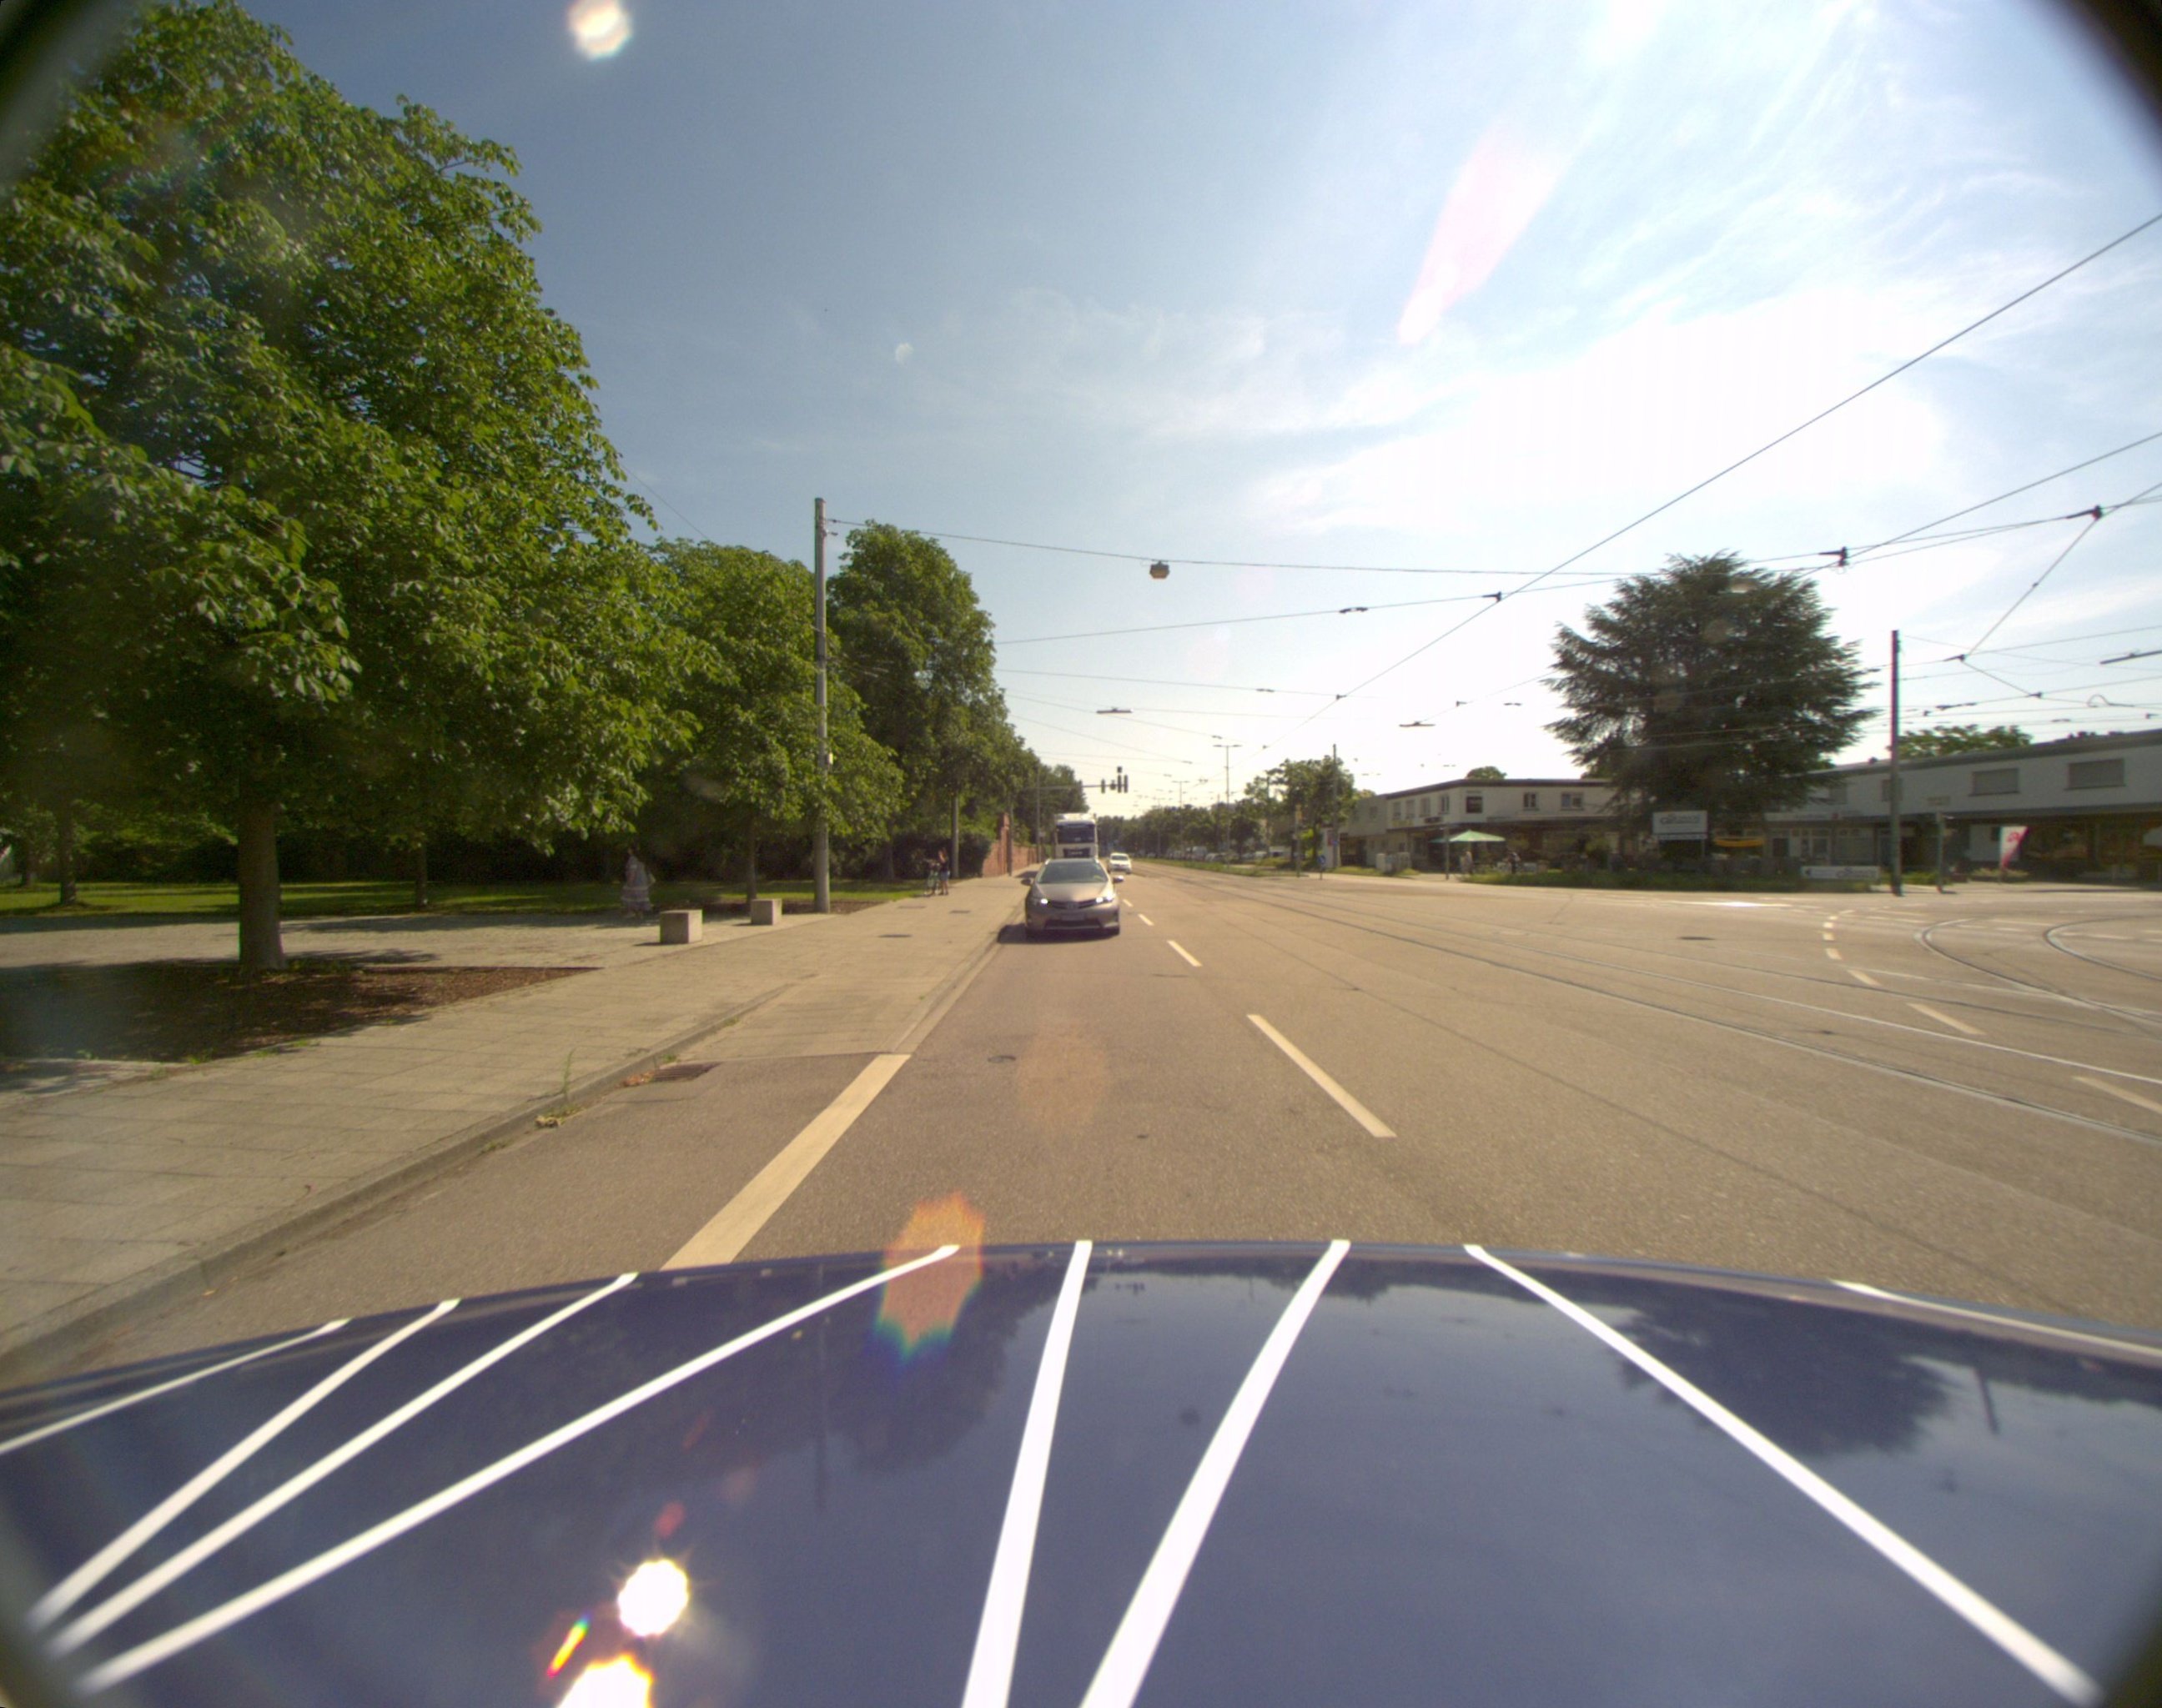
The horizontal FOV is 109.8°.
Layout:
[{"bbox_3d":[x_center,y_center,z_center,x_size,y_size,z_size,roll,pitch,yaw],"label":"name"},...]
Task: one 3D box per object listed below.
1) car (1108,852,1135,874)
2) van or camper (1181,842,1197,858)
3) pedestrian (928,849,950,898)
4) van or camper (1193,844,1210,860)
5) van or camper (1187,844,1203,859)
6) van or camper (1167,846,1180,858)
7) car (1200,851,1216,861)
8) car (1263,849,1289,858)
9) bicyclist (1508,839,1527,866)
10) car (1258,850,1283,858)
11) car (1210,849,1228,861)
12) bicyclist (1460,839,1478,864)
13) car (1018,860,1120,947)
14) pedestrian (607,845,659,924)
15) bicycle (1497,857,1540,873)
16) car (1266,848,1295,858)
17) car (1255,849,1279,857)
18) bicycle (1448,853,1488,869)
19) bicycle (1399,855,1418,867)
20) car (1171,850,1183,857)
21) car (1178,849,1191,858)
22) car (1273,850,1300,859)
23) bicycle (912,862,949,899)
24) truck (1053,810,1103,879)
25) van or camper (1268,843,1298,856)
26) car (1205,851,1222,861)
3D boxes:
[{"bbox_3d":[2.961,0.612,56.575,1.770,1.552,4.067,1,0,1],"label":"car"},{"bbox_3d":[20.035,-0.713,141.438,2.128,2.967,5.281,0,0,0],"label":"van or camper"},{"bbox_3d":[-4.587,0.628,24.631,0.542,1.540,0.663,2,1,0],"label":"pedestrian"},{"bbox_3d":[20.051,-0.373,126.493,2.040,2.617,4.839,0,0,0],"label":"van or camper"},{"bbox_3d":[19.975,-0.453,133.548,2.040,2.617,4.839,0,0,0],"label":"van or camper"},{"bbox_3d":[20.565,-0.516,169.300,2.114,2.604,5.451,1,1,1],"label":"van or camper"},{"bbox_3d":[20.226,0.283,121.256,1.893,1.486,4.232,0,0,0],"label":"car"},{"bbox_3d":[30.191,-0.070,117.732,3.624,1.277,1.712,0,0,-1],"label":"car"},{"bbox_3d":[25.605,-0.097,44.613,0.633,1.565,0.764,-1,1,-36],"label":"bicyclist"},{"bbox_3d":[30.801,0.012,123.591,3.624,1.274,1.812,0,0,-1],"label":"car"},{"bbox_3d":[20.056,0.135,110.417,1.892,1.486,4.285,-3,0,2],"label":"car"},{"bbox_3d":[23.659,-0.155,46.317,0.763,1.549,0.633,2,2,42],"label":"bicyclist"},{"bbox_3d":[-0.184,0.891,15.557,1.742,1.424,4.462,-2,0,1],"label":"car"},{"bbox_3d":[-9.635,0.647,16.353,0.707,1.672,0.652,0,1,0],"label":"pedestrian"},{"bbox_3d":[25.609,0.624,44.543,0.577,0.885,2.130,0,1,-34],"label":"bicycle"},{"bbox_3d":[30.276,-0.127,115.406,3.749,1.560,1.950,0,1,-1],"label":"car"},{"bbox_3d":[31.469,-0.162,128.524,3.624,1.274,1.712,0,0,-1],"label":"car"},{"bbox_3d":[23.598,0.409,46.347,2.130,0.941,0.537,0,1,41],"label":"bicycle"},{"bbox_3d":[27.867,0.582,64.683,0.760,0.977,1.911,0,0,1],"label":"bicycle"},{"bbox_3d":[20.534,-0.094,162.933,1.893,1.551,4.232,0,0,0],"label":"car"},{"bbox_3d":[20.455,-0.102,150.054,1.893,1.724,4.232,0,0,0],"label":"car"},{"bbox_3d":[30.524,0.086,112.941,3.624,1.353,1.712,0,1,-1],"label":"car"},{"bbox_3d":[-4.851,0.831,24.591,0.537,1.105,1.808,1,1,10],"label":"bicycle"},{"bbox_3d":[-0.130,-0.573,47.877,2.746,3.852,9.110,2,0,1],"label":"truck"},{"bbox_3d":[44.551,-0.976,167.888,6.081,2.715,2.299,0,1,2],"label":"van or camper"},{"bbox_3d":[20.147,0.276,115.798,1.893,1.551,4.285,0,0,0],"label":"car"}]
